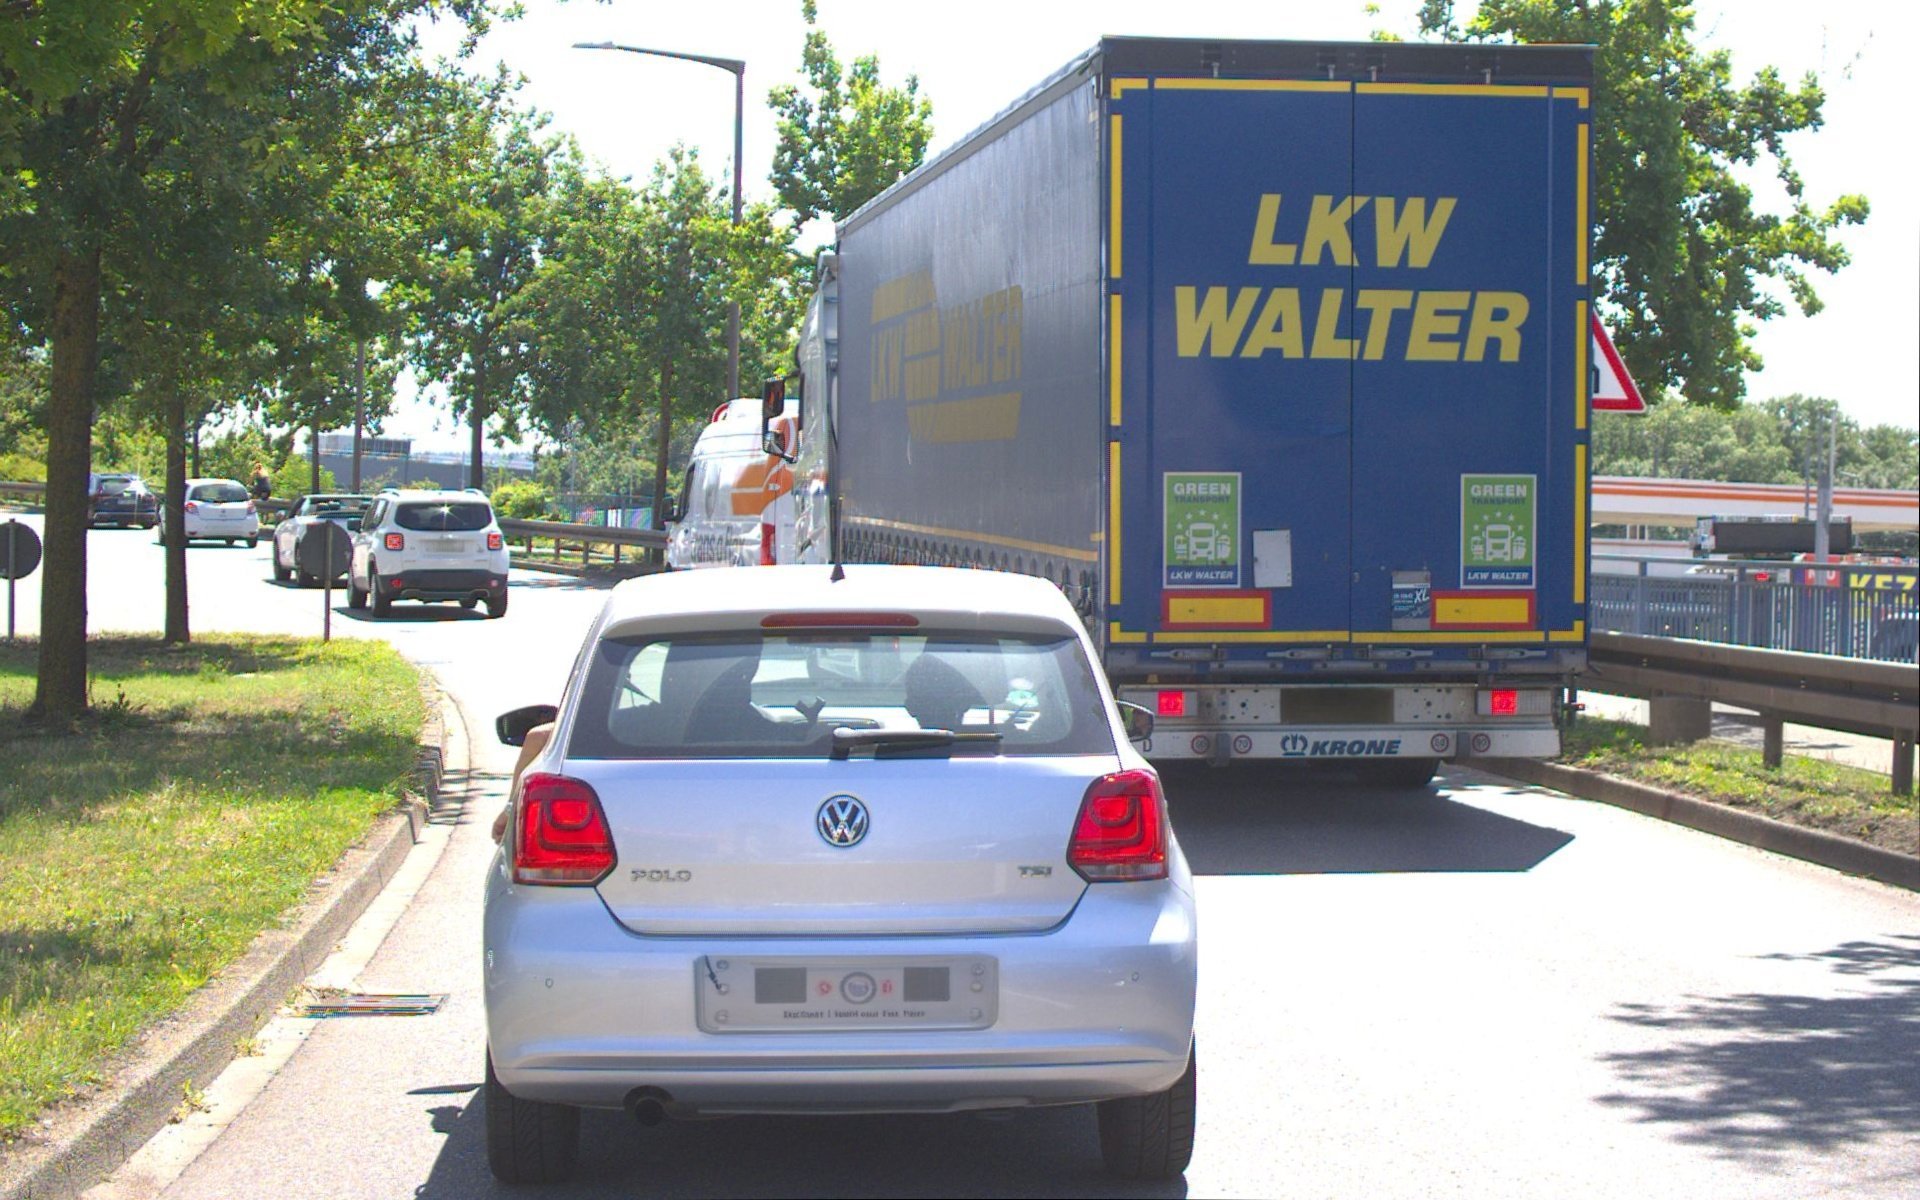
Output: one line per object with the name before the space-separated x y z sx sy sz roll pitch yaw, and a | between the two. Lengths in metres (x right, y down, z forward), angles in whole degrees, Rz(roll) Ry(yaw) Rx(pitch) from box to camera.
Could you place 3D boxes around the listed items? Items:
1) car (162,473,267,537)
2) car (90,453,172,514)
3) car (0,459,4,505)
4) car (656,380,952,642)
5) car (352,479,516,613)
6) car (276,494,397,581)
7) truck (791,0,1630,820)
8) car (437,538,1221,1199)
car | -16.432 -2.094 75.657 1.607 1.355 3.664 1 1 -23
car | -21.394 -2.996 88.688 1.664 1.460 3.582 1 0 -20
car | -28.918 -3.444 100.771 1.456 1.309 3.639 1 1 -20
car | -2.017 -1.124 41.652 2.175 2.890 6.361 1 2 -15
car | -7.230 -0.729 46.965 1.903 1.712 4.225 1 0 -13
car | -10.227 -1.037 56.234 1.494 1.355 3.664 1 1 -17
truck | 0.878 -1.186 25.443 2.832 4.184 16.479 1 1 -8
car | -0.337 0.582 9.094 1.646 1.434 3.537 1 0 -2
